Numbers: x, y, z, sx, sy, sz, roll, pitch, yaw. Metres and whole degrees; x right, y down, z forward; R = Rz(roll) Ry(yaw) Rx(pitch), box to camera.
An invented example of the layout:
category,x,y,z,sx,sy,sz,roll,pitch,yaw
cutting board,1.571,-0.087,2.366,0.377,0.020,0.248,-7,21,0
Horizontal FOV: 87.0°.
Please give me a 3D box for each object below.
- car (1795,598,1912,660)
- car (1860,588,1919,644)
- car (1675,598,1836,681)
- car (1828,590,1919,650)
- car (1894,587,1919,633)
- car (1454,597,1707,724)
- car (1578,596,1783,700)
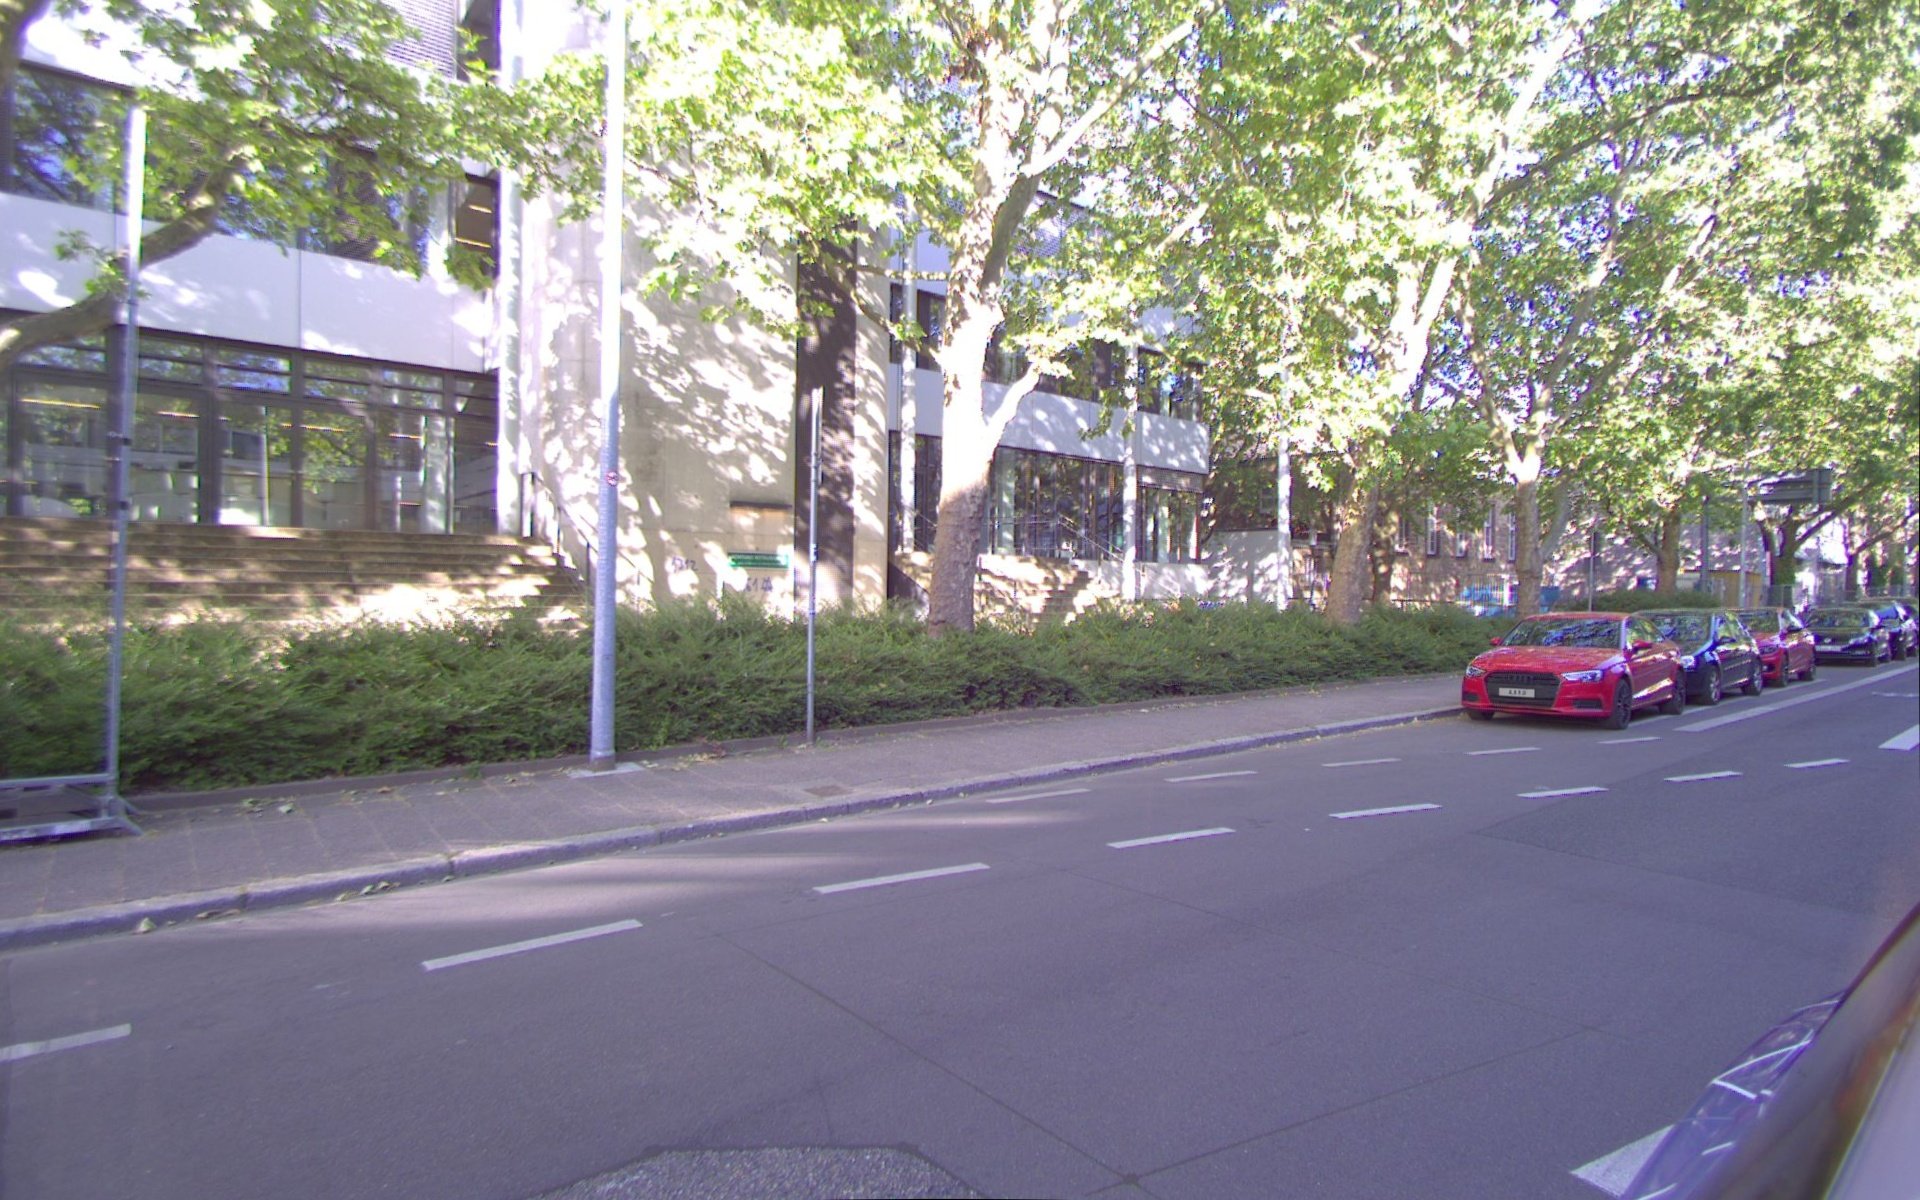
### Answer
category,x,y,z,sx,sy,sz,roll,pitch,yaw
car,22.974,0.681,25.994,3.930,1.456,1.744,0,1,-41
car,31.073,0.481,33.052,4.188,1.747,1.997,-1,0,-41
car,15.736,0.694,19.965,3.930,1.456,1.789,0,1,-41
car,26.638,0.524,29.192,4.158,1.601,1.847,0,1,-41
car,35.731,0.361,37.073,4.004,1.638,1.797,0,1,-41
car,8.361,0.687,13.499,4.101,1.443,1.773,0,-1,-42
car,11.872,0.682,16.593,3.929,1.475,1.812,0,1,-40
